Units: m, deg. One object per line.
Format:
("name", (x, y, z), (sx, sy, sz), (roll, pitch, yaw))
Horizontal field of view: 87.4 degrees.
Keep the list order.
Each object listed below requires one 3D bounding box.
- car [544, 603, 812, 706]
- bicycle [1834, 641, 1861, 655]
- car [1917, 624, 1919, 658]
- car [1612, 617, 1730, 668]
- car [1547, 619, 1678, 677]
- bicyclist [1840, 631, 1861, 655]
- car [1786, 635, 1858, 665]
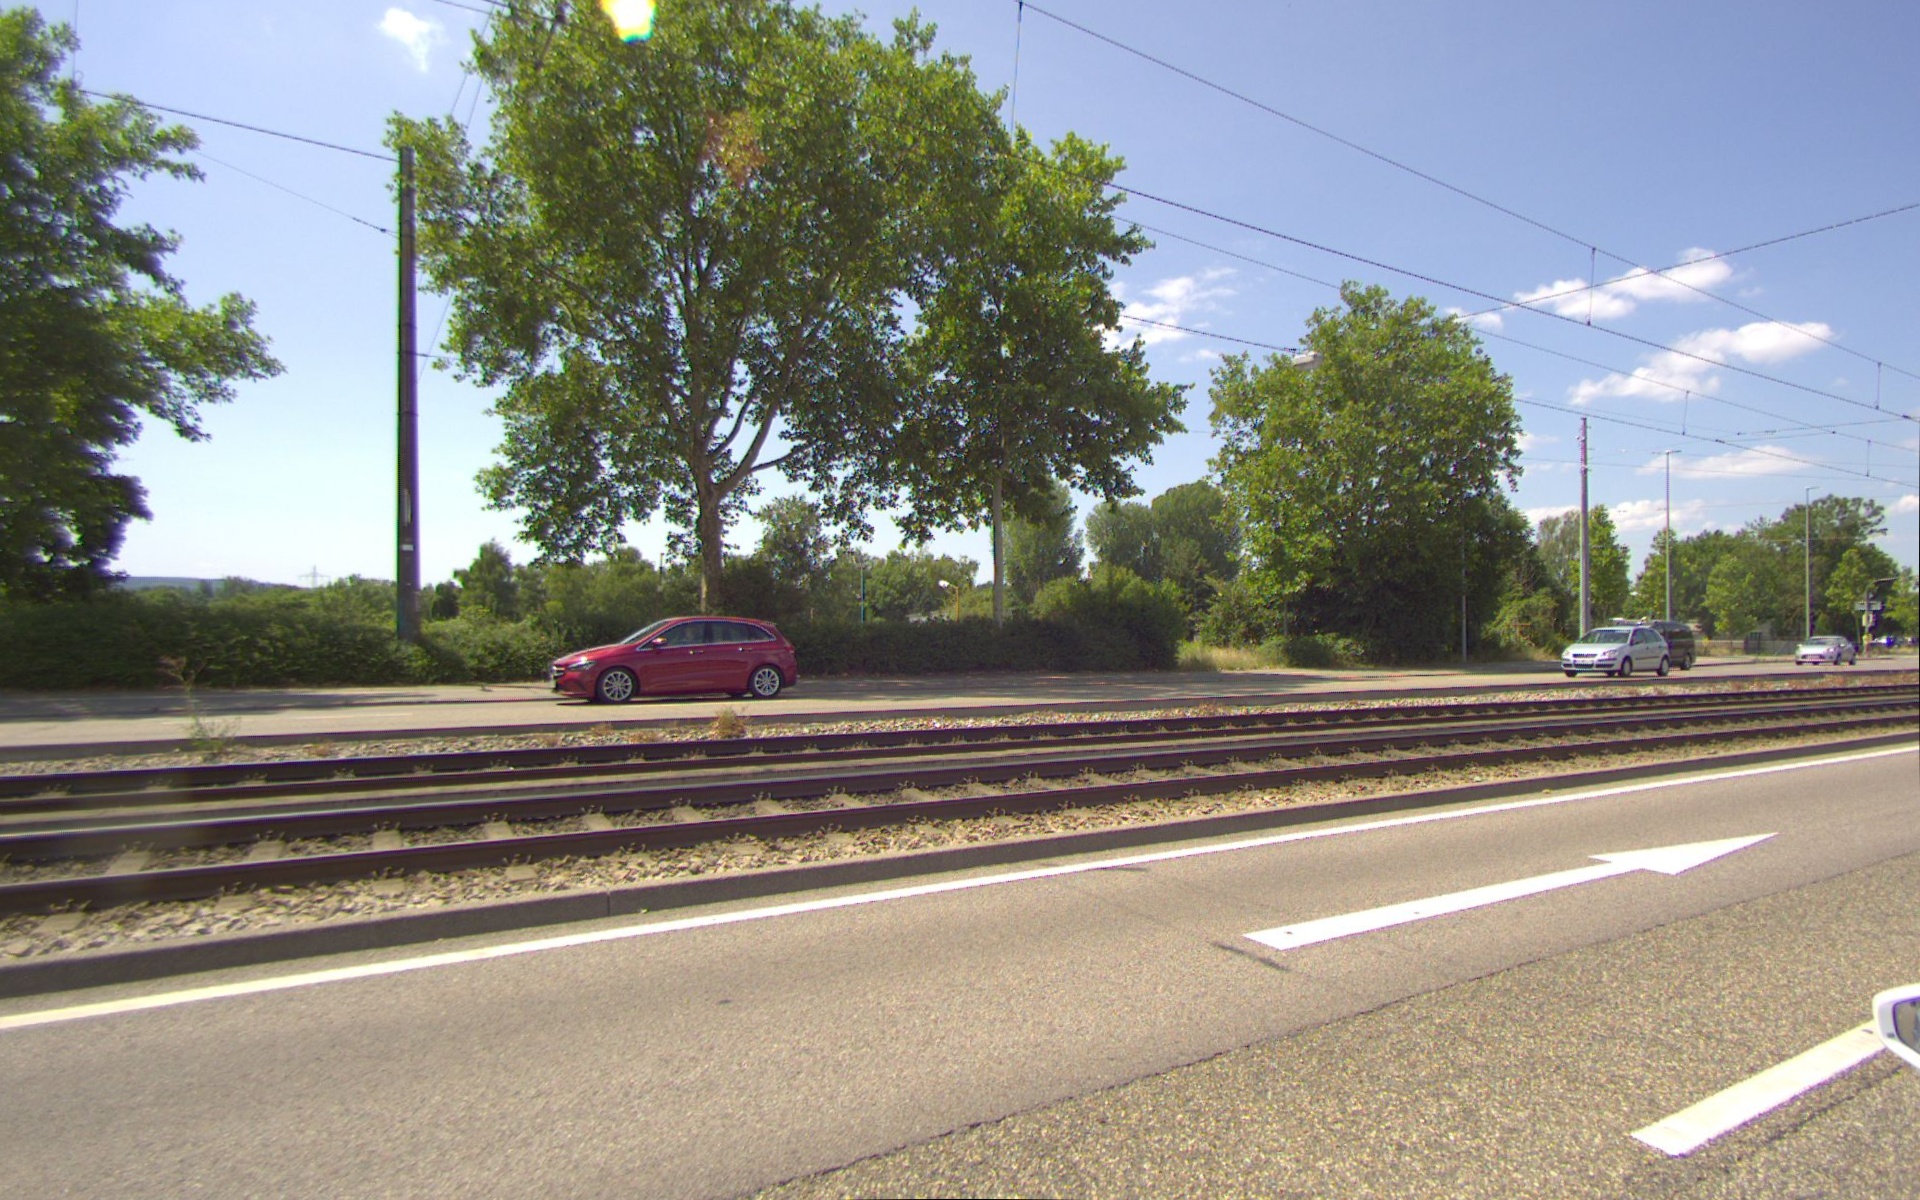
("car", (-5.165, 0.983, 18.543), (4.418, 1.692, 1.983), (1, -3, -32))
("bicycle", (67.775, 3.673, 76.701), (0.481, 1.000, 1.482), (1, 0, -33))
("car", (58.024, 2.474, 57.569), (4.323, 1.944, 2.000), (2, 1, 1))
("car", (27.819, 1.663, 39.275), (4.914, 1.854, 1.983), (1, -3, -32))
("car", (19.273, 1.416, 29.652), (4.013, 1.604, 1.677), (1, -3, -32))
("bicyclist", (67.875, 3.280, 76.546), (0.337, 1.798, 1.112), (1, 0, -34))
("car", (43.146, 2.486, 50.285), (3.845, 1.434, 1.811), (2, -3, -35))
